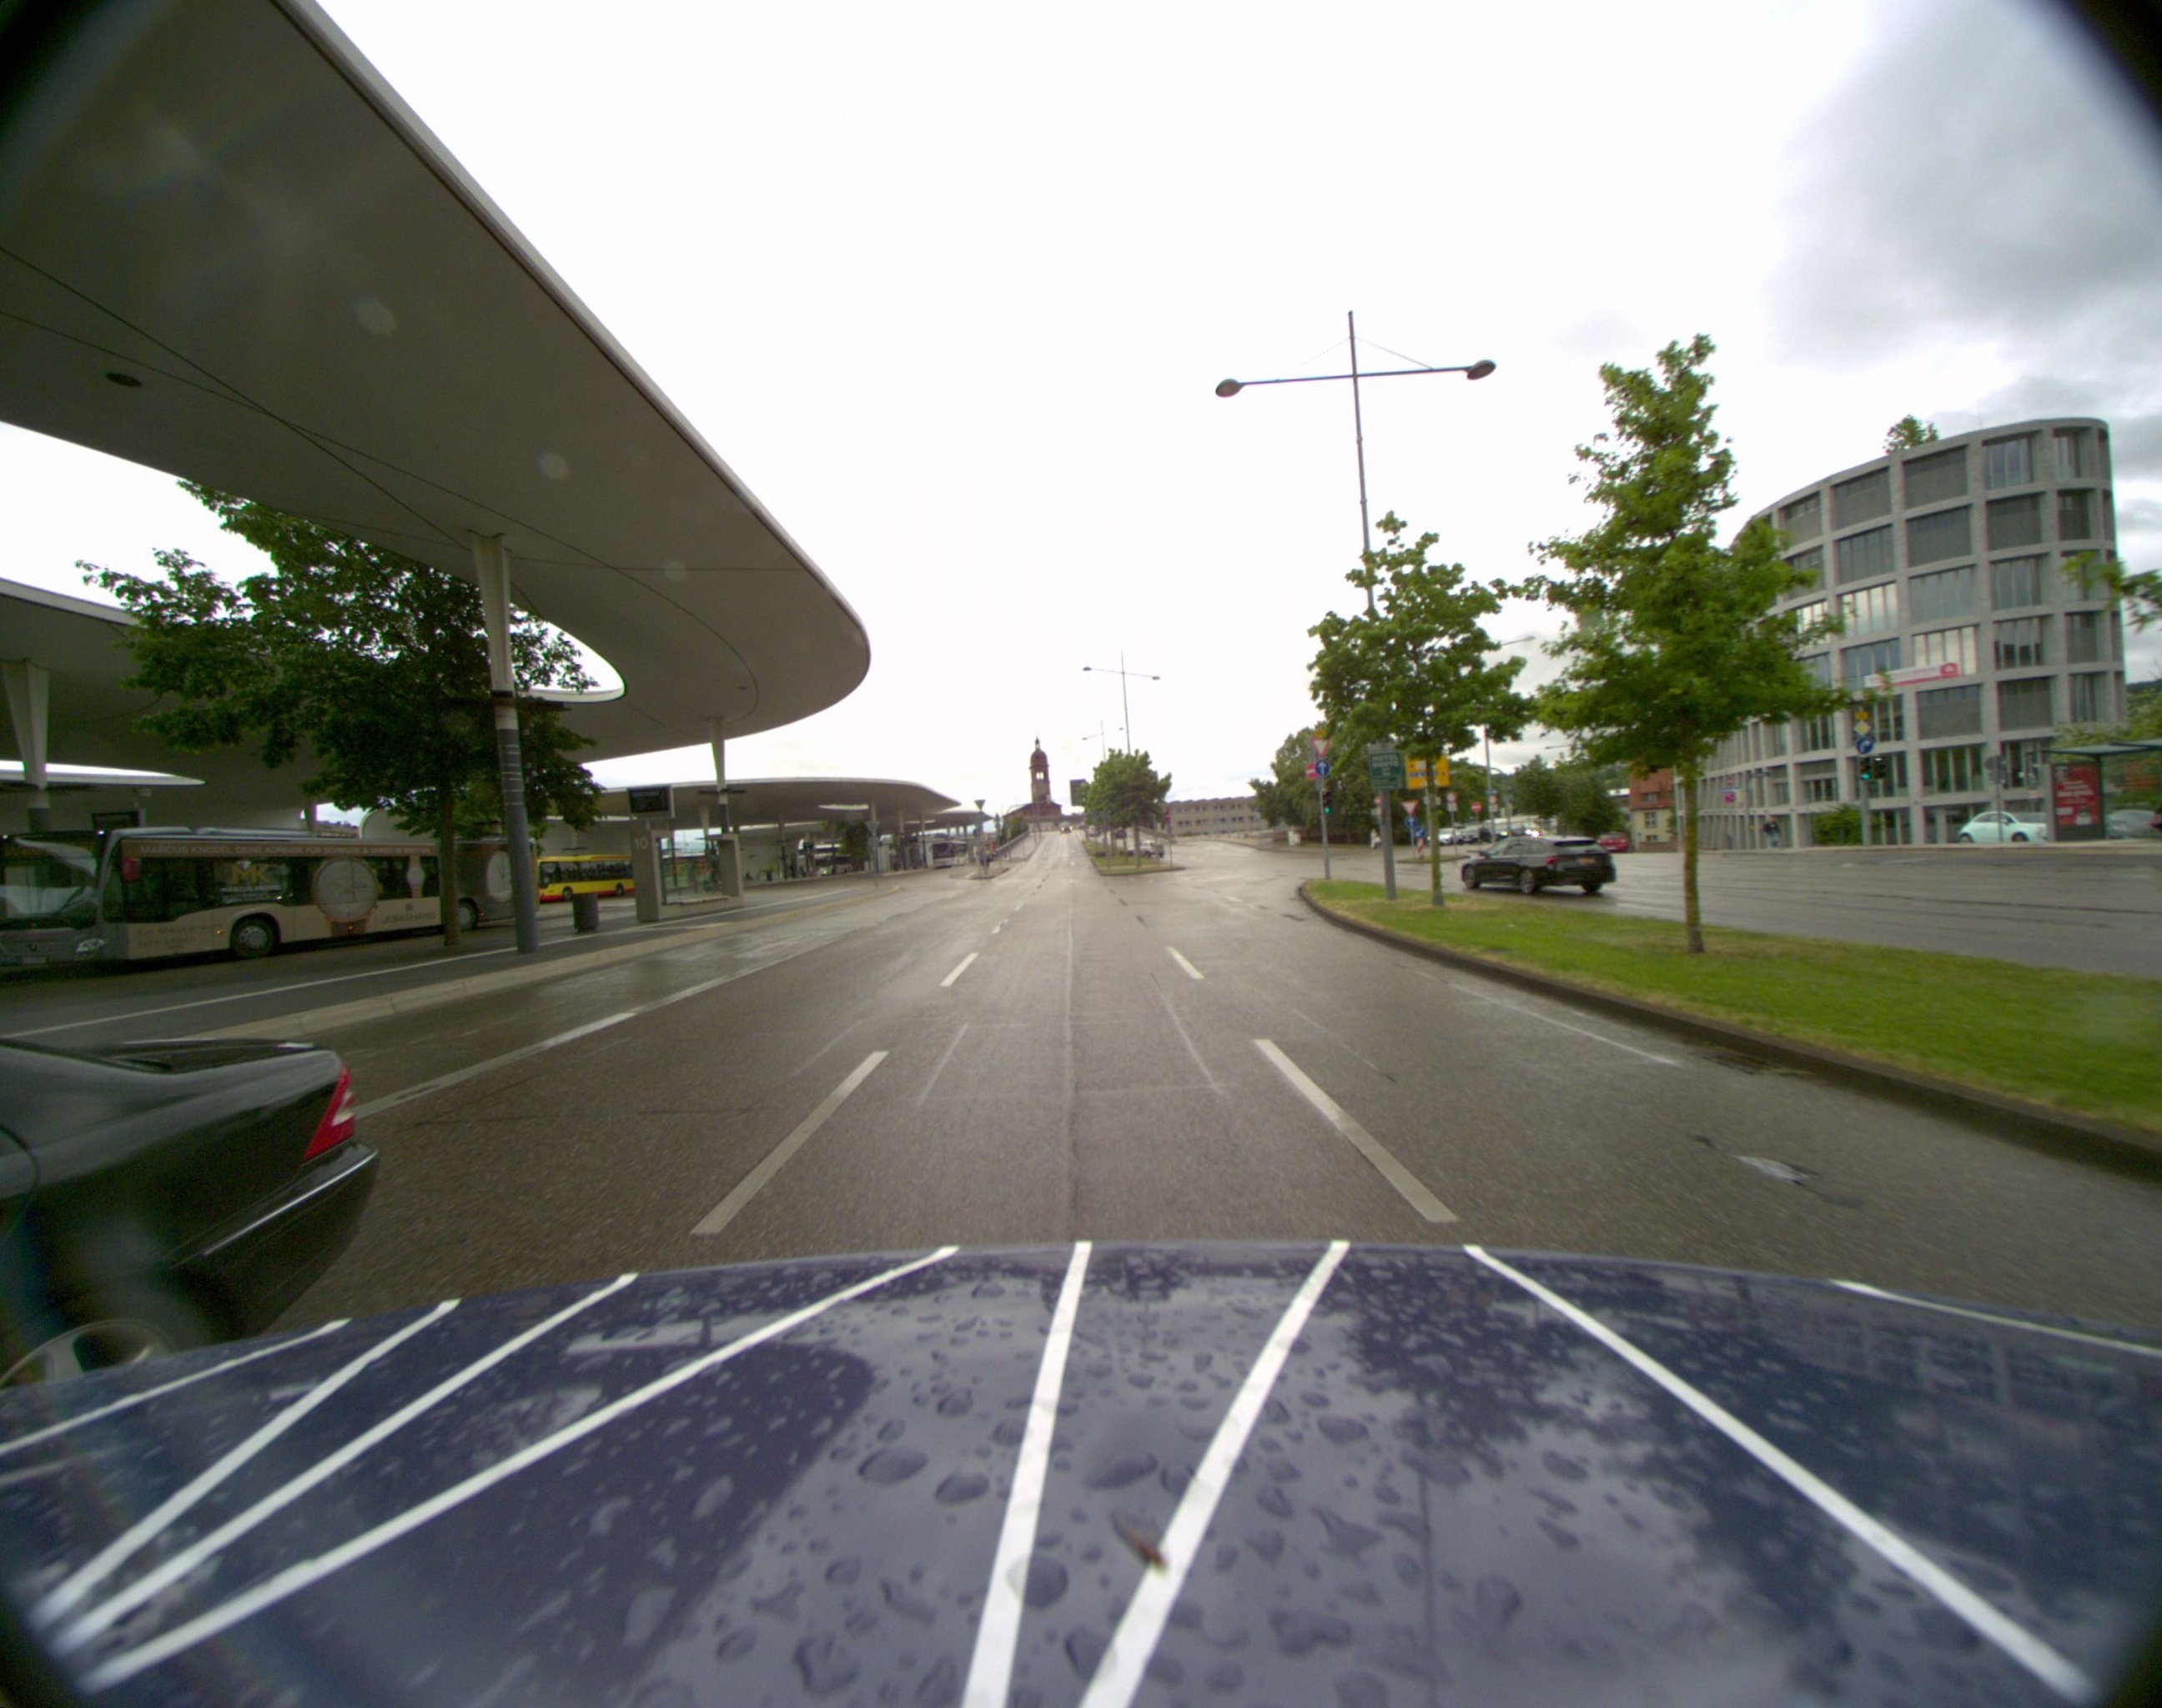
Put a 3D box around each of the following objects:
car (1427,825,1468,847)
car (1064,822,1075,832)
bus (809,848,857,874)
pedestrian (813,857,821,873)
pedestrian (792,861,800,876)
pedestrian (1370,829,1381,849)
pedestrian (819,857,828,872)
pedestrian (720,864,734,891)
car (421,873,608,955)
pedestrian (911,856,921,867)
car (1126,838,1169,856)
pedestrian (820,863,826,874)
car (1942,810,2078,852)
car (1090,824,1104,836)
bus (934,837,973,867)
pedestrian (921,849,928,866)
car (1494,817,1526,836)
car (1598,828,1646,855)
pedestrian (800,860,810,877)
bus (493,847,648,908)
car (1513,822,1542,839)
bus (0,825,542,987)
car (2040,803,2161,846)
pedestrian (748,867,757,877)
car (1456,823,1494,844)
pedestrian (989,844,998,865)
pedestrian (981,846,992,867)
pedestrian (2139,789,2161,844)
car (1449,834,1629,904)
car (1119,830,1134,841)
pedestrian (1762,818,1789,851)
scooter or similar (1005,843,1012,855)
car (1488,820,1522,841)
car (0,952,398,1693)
[{"bbox_3d":[31.068,-1.540,64.371,1.882,1.559,4.148,-2,2,44],"label":"car"},{"bbox_3d":[-2.185,-5.156,146.498,1.852,1.643,4.417,-4,1,-3],"label":"car"},{"bbox_3d":[-35.816,0.933,110.337,2.795,3.239,12.137,-4,1,-1],"label":"bus"},{"bbox_3d":[-28.369,1.174,81.561,0.570,1.645,0.557,-3,1,5],"label":"pedestrian"},{"bbox_3d":[-28.412,1.440,75.722,0.522,1.494,0.381,-5,2,-40],"label":"pedestrian"},{"bbox_3d":[24.275,-1.247,62.624,0.652,1.562,0.631,-1,4,7],"label":"pedestrian"},{"bbox_3d":[-28.009,1.119,82.630,0.644,1.645,0.638,-4,2,-40],"label":"pedestrian"},{"bbox_3d":[-23.211,1.529,49.793,0.720,1.674,1.019,-2,2,-26],"label":"pedestrian"},{"bbox_3d":[-12.251,1.228,16.707,1.651,1.444,3.236,-4,0,-2],"label":"car"},{"bbox_3d":[-18.050,0.822,83.057,0.954,1.247,0.648,-1,-1,-24],"label":"pedestrian"},{"bbox_3d":[5.823,-0.632,67.112,1.640,1.440,3.866,-4,2,-34],"label":"car"},{"bbox_3d":[-27.341,1.513,80.431,0.395,1.138,0.364,-2,2,41],"label":"pedestrian"},{"bbox_3d":[36.974,-0.912,30.374,1.630,1.487,3.585,-3,1,15],"label":"car"},{"bbox_3d":[2.598,-3.847,121.997,1.852,1.643,4.417,-4,1,-3],"label":"car"},{"bbox_3d":[-15.375,-0.250,92.673,2.852,3.342,12.423,-1,1,-1],"label":"bus"},{"bbox_3d":[-17.202,0.351,83.471,0.585,1.875,0.649,-2,-1,9],"label":"pedestrian"},{"bbox_3d":[39.384,-2.560,69.764,1.723,1.559,3.845,-2,2,42],"label":"car"},{"bbox_3d":[35.111,-0.799,49.260,4.040,1.543,1.823,-4,2,-44],"label":"car"},{"bbox_3d":[-28.180,1.456,77.636,0.590,1.581,0.677,-7,5,-4],"label":"pedestrian"},{"bbox_3d":[-35.223,1.403,53.355,2.796,3.240,12.133,-4,3,-2],"label":"bus"},{"bbox_3d":[45.485,-2.424,77.377,1.723,1.559,3.845,-2,2,42],"label":"car"},{"bbox_3d":[-20.348,0.943,20.620,2.728,3.026,12.086,-3,1,0],"label":"bus"},{"bbox_3d":[38.701,-1.109,28.445,1.630,1.487,3.585,-3,1,15],"label":"car"},{"bbox_3d":[-48.951,2.708,113.362,0.800,1.318,0.711,-7,5,5],"label":"pedestrian"},{"bbox_3d":[31.818,-1.666,61.286,1.723,1.559,3.845,-2,2,42],"label":"car"},{"bbox_3d":[-7.122,0.063,61.933,0.524,1.662,0.580,-5,4,-1],"label":"pedestrian"},{"bbox_3d":[-7.715,0.205,61.947,0.590,1.662,0.580,-6,6,-1],"label":"pedestrian"},{"bbox_3d":[29.058,-1.014,20.310,0.680,1.460,0.625,-3,2,-2],"label":"pedestrian"},{"bbox_3d":[11.662,0.306,19.778,1.685,1.519,4.637,-3,1,-3],"label":"car"},{"bbox_3d":[6.669,-2.753,111.875,1.852,1.495,4.918,-3,1,1],"label":"car"},{"bbox_3d":[34.102,-0.942,37.318,0.673,1.574,0.704,-4,2,-3],"label":"pedestrian"},{"bbox_3d":[-7.445,-0.549,78.419,0.465,1.214,1.859,-4,1,-1],"label":"scooter or similar"},{"bbox_3d":[36.700,-2.052,65.747,1.723,1.559,3.845,-2,2,42],"label":"car"},{"bbox_3d":[-3.121,1.050,0.383,1.702,1.453,4.304,-2,-1,-2],"label":"car"}]
